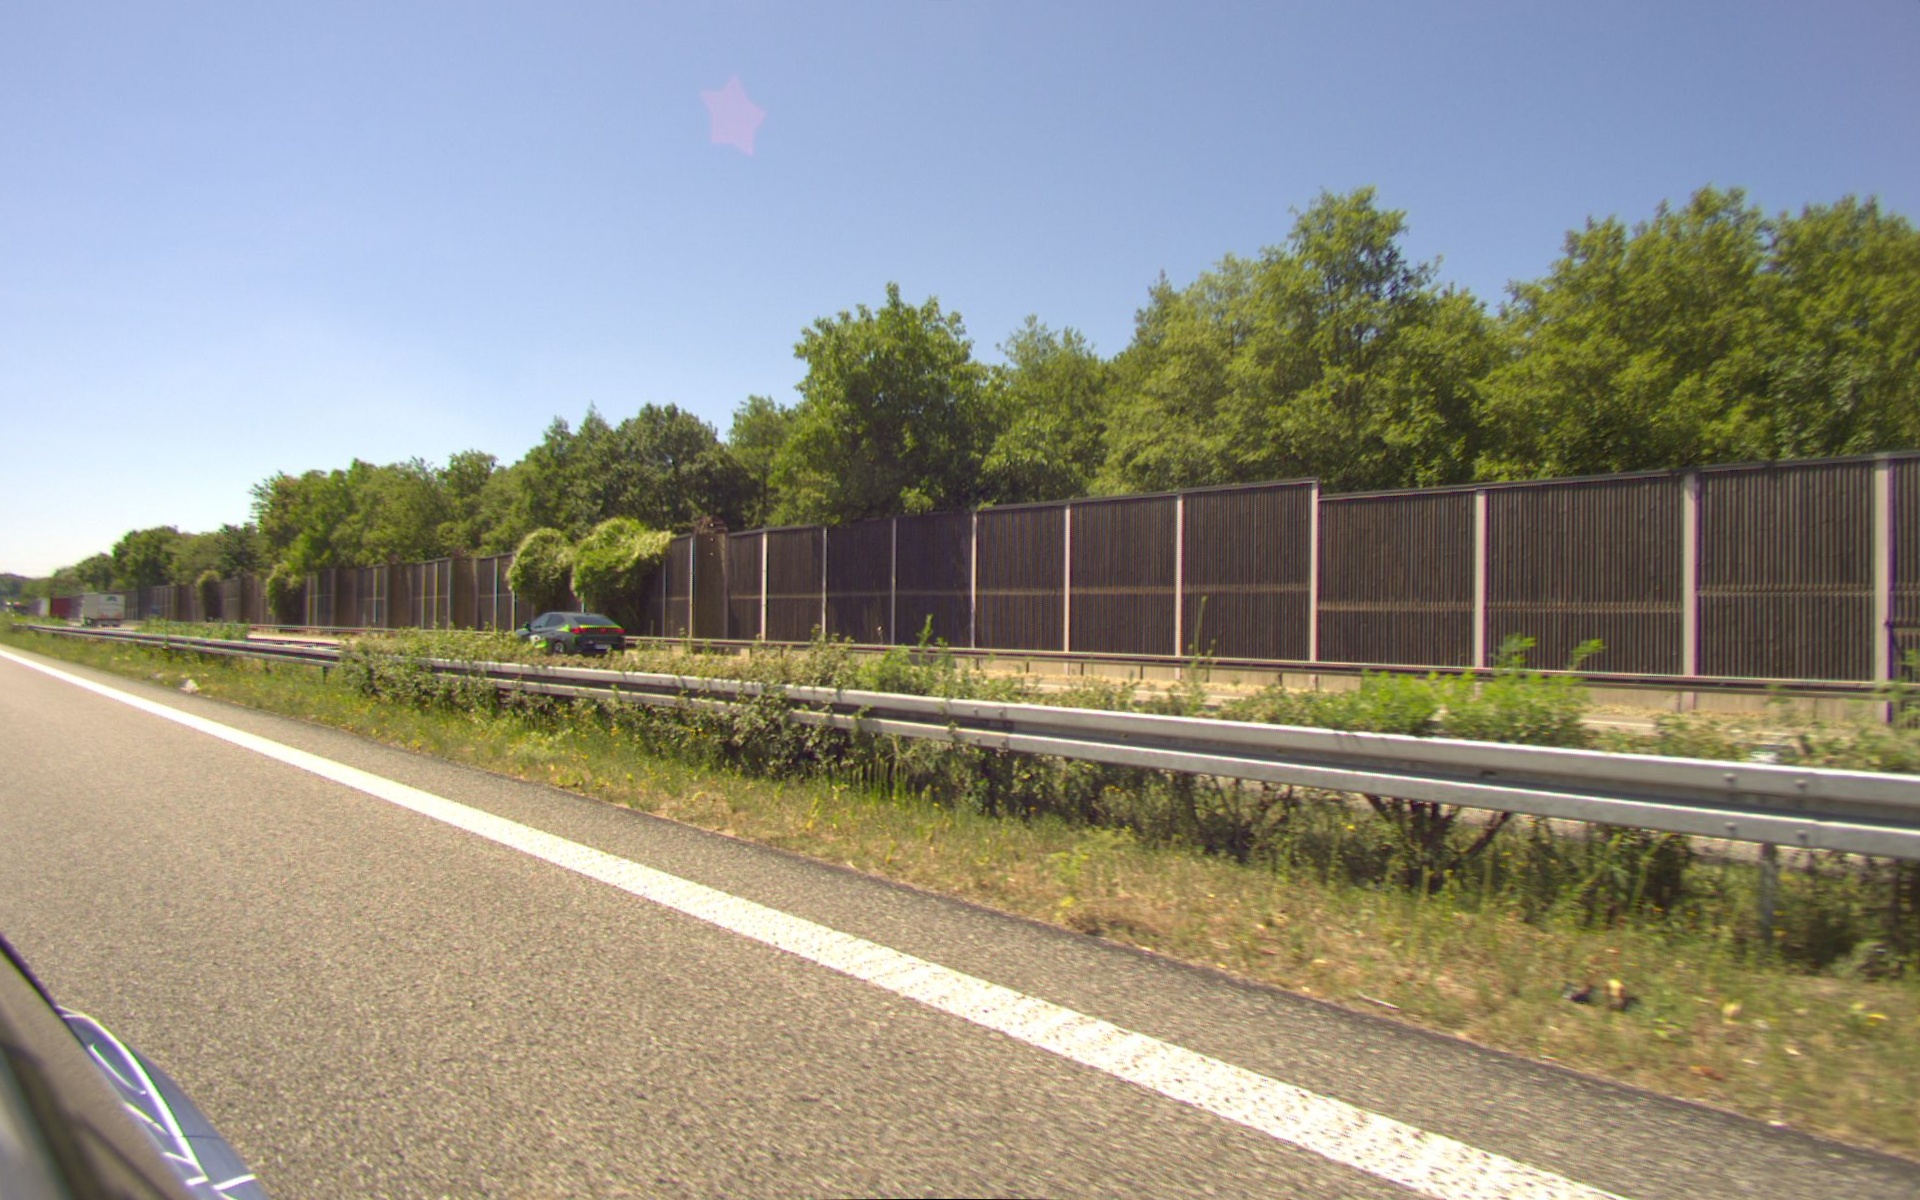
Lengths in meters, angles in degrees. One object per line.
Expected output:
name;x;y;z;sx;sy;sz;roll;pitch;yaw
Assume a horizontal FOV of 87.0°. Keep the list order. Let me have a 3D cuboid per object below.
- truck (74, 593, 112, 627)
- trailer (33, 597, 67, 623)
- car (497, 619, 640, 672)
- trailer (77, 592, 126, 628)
truck;-109.968;1.285;128.327;7.142;4.215;2.802;-1;-2;43
trailer;-148.447;1.628;165.042;14.304;4.052;2.705;-1;-2;43
car;-11.601;1.276;29.812;4.879;1.444;1.938;-1;-2;42
trailer;-105.508;1.240;124.257;13.311;4.215;2.878;-1;-2;43
